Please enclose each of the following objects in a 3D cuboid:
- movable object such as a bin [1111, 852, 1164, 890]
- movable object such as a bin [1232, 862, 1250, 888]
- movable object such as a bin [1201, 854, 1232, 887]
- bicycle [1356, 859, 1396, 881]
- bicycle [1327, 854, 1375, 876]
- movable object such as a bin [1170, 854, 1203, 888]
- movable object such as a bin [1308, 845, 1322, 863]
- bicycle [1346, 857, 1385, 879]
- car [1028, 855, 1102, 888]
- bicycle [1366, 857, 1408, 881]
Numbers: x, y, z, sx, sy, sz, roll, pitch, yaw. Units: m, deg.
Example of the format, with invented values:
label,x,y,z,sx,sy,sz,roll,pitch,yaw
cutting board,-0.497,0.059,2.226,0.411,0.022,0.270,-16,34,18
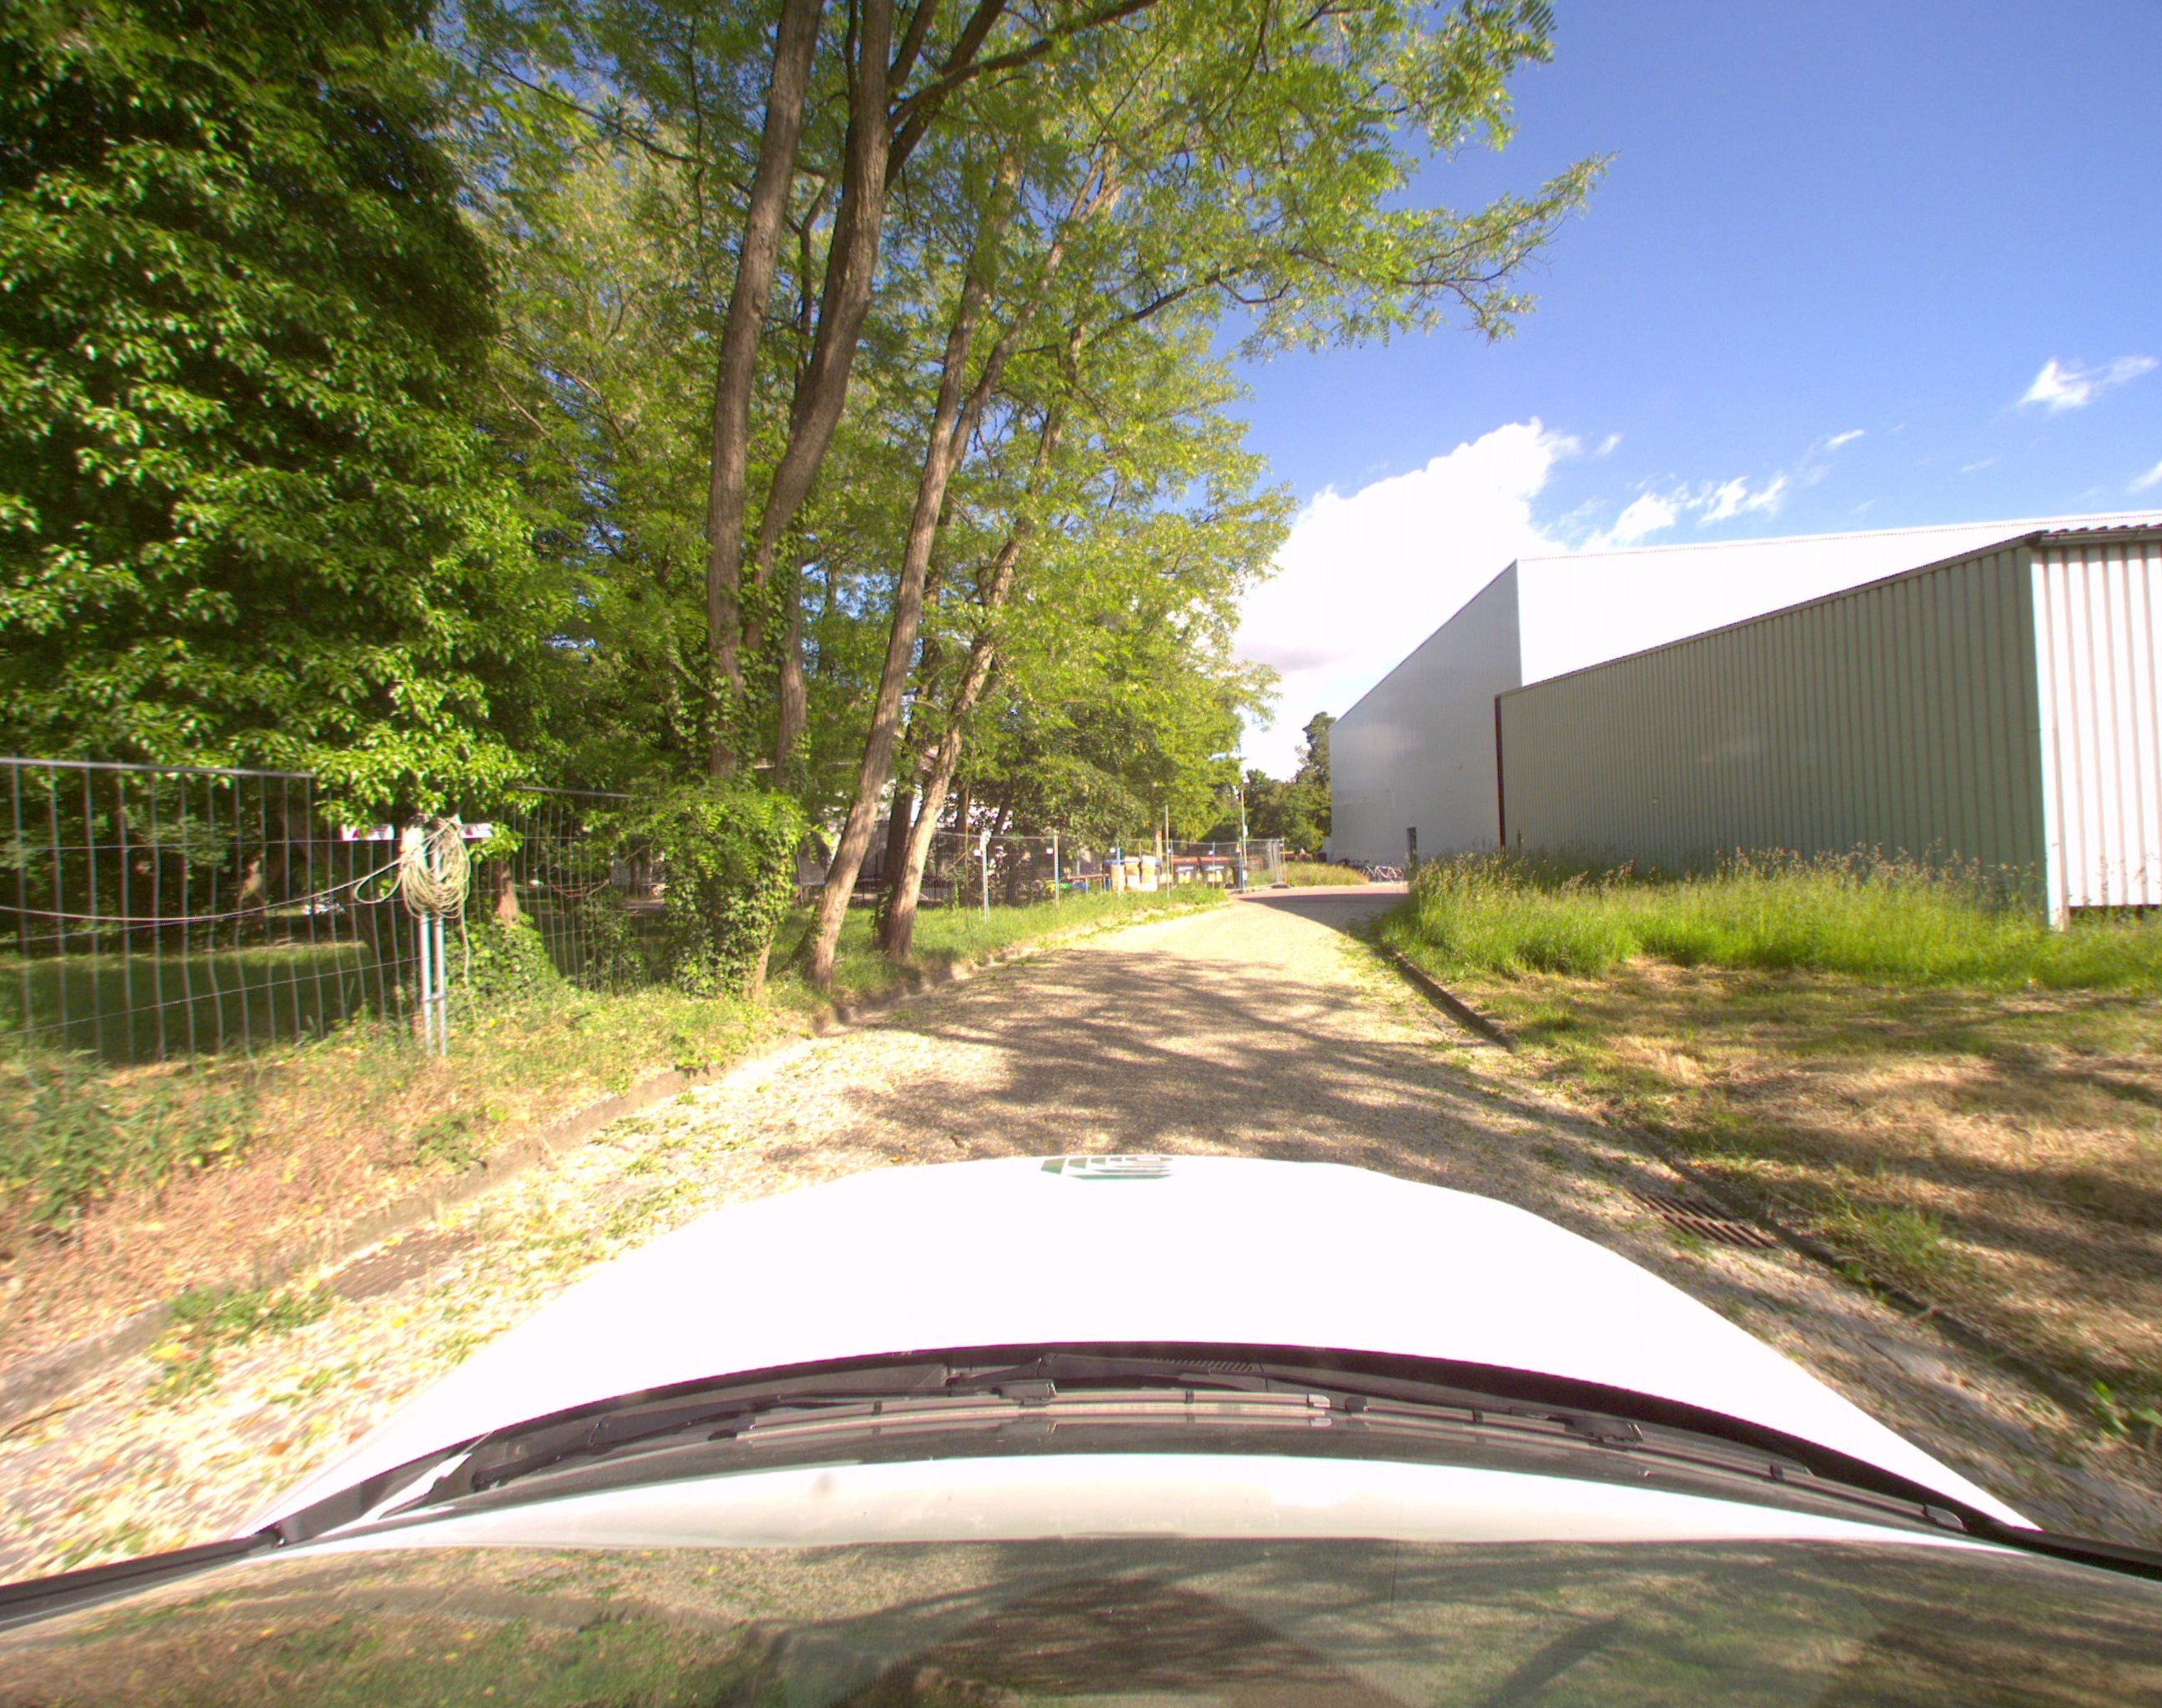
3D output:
label,x,y,z,sx,sy,sz,roll,pitch,yaw
movable object such as a bin,2.520,0.767,36.547,2.280,1.591,1.175,-2,-1,1
movable object such as a bin,7.101,0.925,36.228,0.731,1.097,0.821,-2,-1,11
movable object such as a bin,6.069,0.739,36.486,1.240,1.444,0.703,-2,-1,1
bicycle,14.804,0.800,40.850,1.781,1.082,0.526,-2,-1,8
bicycle,16.199,0.657,48.937,2.613,1.266,1.144,-2,-1,11
movable object such as a bin,4.741,0.754,36.602,1.333,1.484,0.807,-2,-1,1
movable object such as a bin,27.017,-0.036,94.014,1.409,2.014,1.129,-2,-1,11
bicycle,15.154,0.754,43.385,1.878,1.095,0.527,-2,-1,5
car,-1.043,1.183,54.343,4.690,1.902,2.001,-3,-1,2
bicycle,14.376,0.718,38.307,1.792,1.062,0.459,-2,-1,2
